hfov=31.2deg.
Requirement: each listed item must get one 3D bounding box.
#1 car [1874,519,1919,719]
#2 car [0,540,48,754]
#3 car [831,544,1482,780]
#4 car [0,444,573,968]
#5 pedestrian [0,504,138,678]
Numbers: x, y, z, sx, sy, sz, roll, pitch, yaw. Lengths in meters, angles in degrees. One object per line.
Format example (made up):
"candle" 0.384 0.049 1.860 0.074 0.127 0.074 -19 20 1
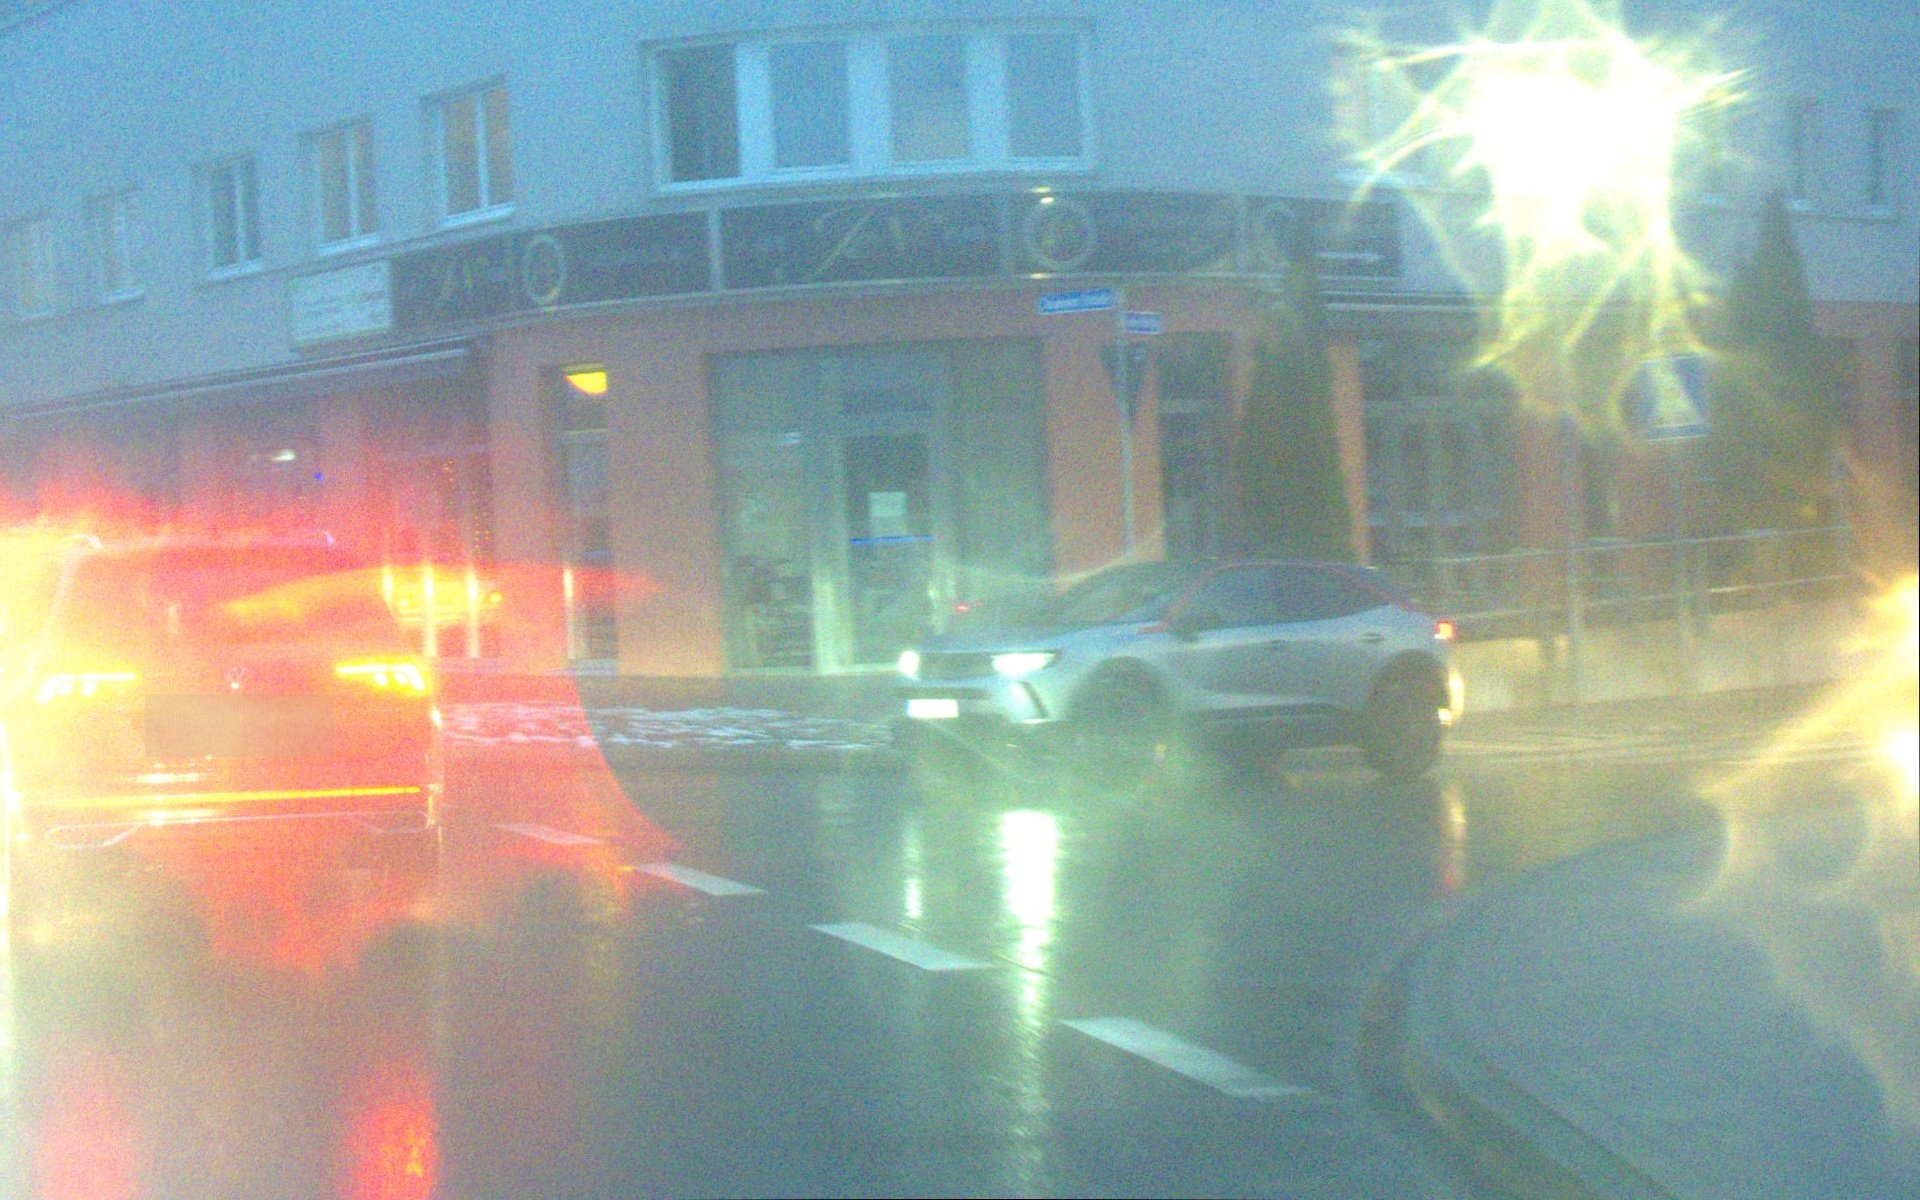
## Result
"car" 10.362 0.146 31.707 2.046 1.781 4.120 -1 0 42
"car" -8.830 0.376 28.043 1.857 1.641 4.001 -2 1 -27
"car" 1.363 0.347 22.995 4.171 1.436 1.797 -1 1 -37
"car" -3.419 0.377 16.093 2.309 1.932 5.020 -4 2 -16
"pedestrian" -10.309 -0.105 39.325 1.255 1.859 1.303 -6 3 -33
